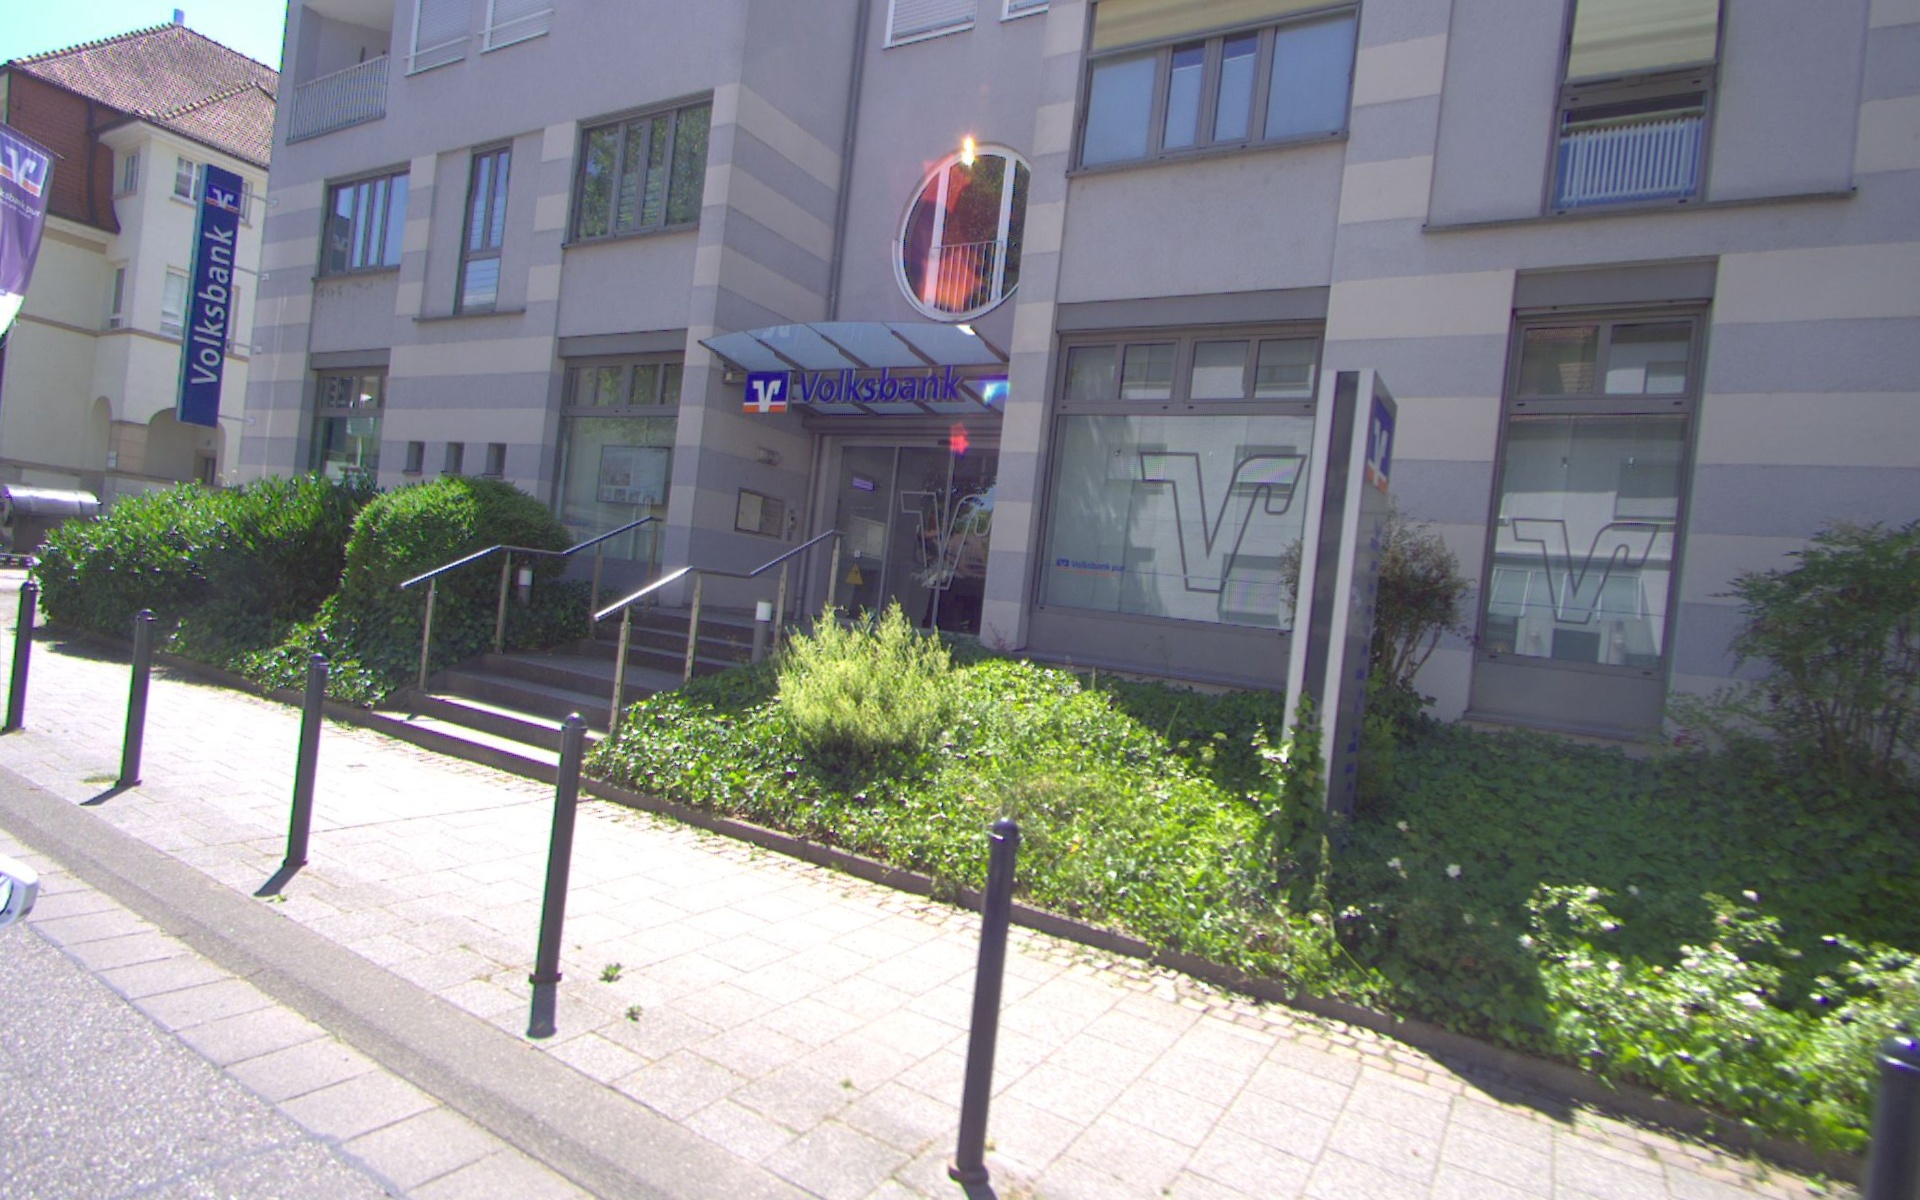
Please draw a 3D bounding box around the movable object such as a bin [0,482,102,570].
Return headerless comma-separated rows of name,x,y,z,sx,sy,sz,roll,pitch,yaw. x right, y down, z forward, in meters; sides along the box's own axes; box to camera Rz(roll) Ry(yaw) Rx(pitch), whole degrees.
movable object such as a bin,-17.192,-1.390,18.828,1.358,1.478,1.367,7,3,33
